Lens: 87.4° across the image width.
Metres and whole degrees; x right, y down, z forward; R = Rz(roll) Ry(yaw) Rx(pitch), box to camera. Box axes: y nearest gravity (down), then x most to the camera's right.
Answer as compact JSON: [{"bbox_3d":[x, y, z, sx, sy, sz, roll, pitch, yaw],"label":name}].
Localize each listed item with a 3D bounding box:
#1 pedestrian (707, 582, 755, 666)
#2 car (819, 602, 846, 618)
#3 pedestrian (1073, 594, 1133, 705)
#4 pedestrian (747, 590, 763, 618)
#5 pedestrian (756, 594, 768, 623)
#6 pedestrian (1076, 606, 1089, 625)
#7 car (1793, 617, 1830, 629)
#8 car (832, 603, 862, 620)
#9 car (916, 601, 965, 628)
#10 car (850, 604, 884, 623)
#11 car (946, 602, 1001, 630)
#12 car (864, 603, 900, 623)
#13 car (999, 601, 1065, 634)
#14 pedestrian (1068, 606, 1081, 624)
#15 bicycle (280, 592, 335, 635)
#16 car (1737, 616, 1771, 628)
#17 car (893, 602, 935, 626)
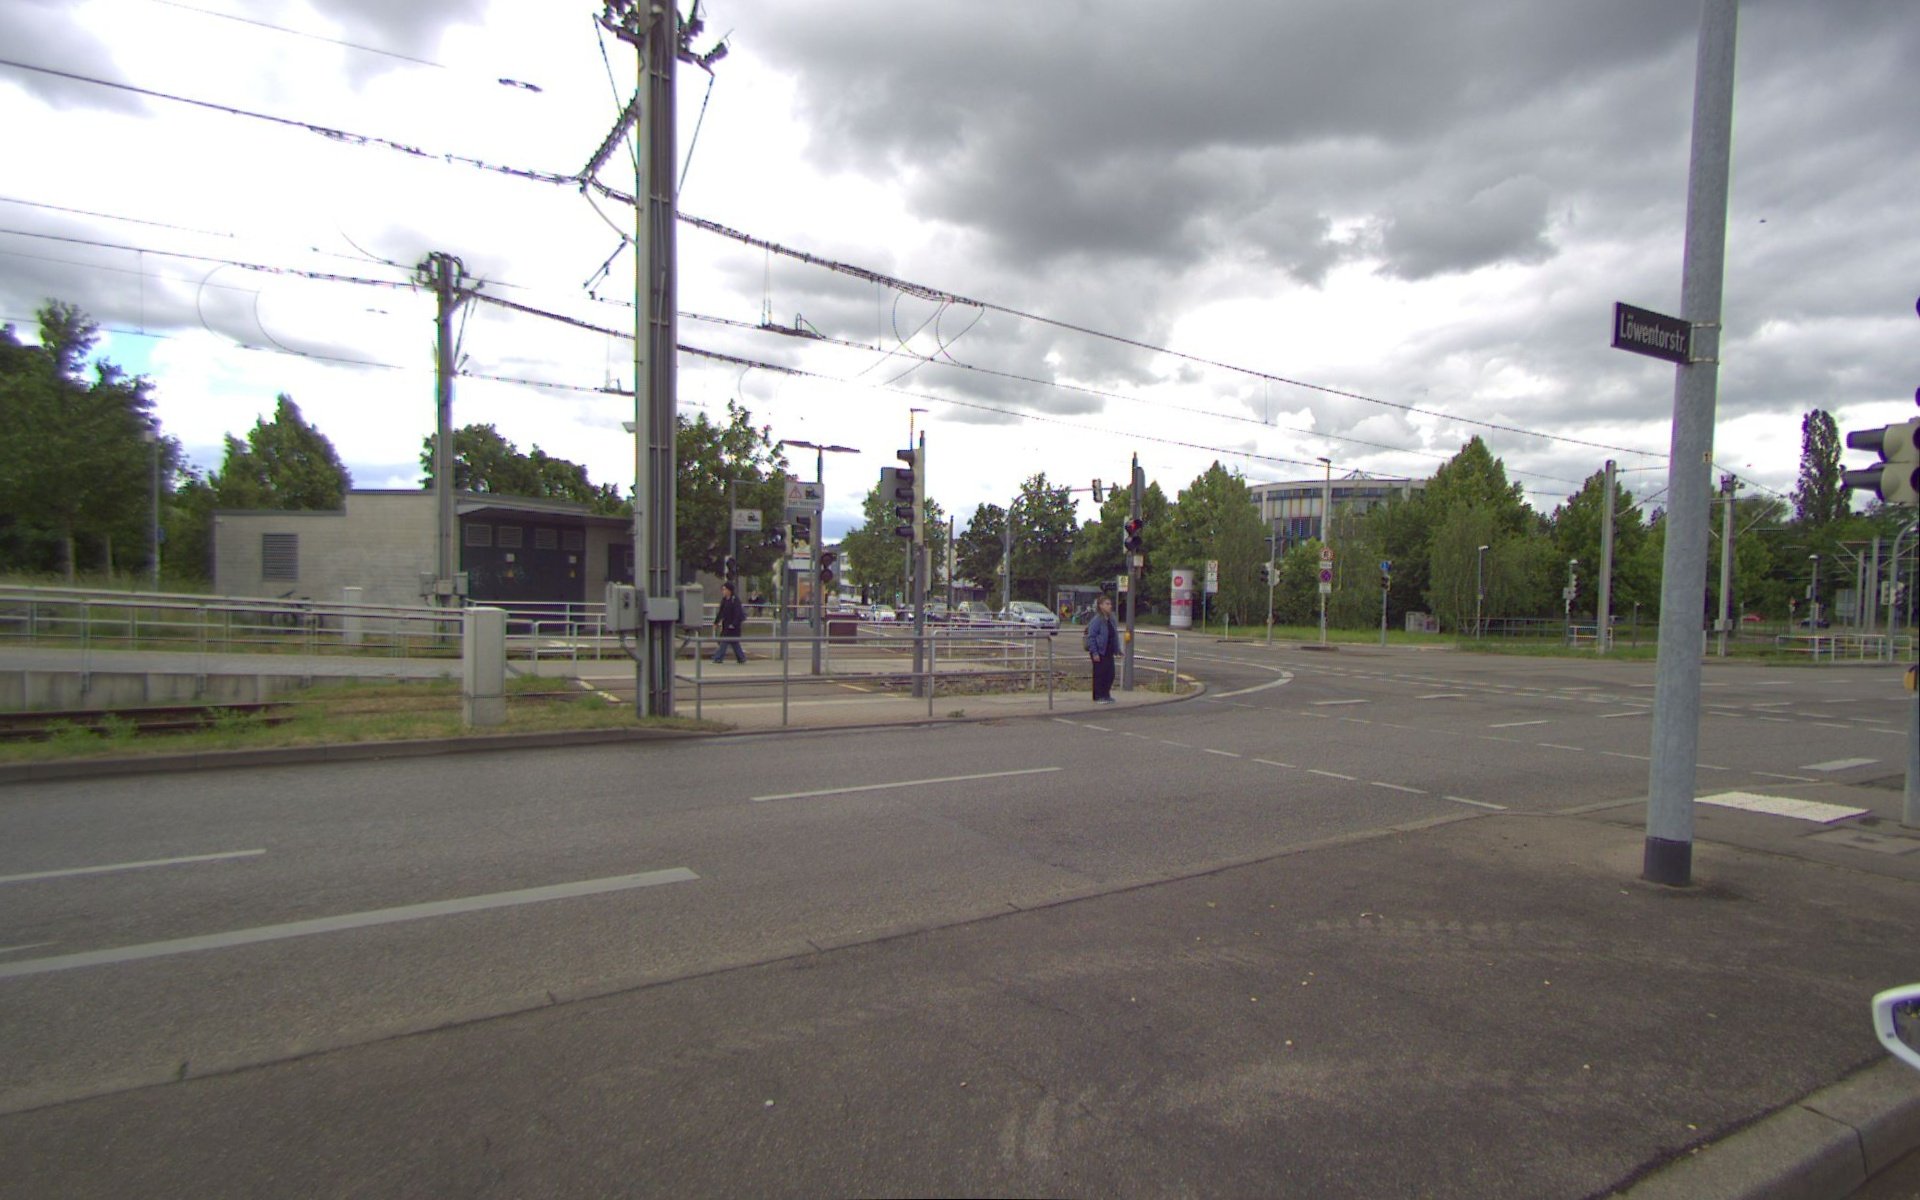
[{"bbox_3d":[-4.536,0.460,19.865,0.653,1.628,0.698,1,1,-41],"label":"pedestrian"},{"bbox_3d":[-11.936,0.963,94.068,1.706,1.456,3.731,1,0,-20],"label":"car"},{"bbox_3d":[2.092,0.705,14.732,0.701,1.584,0.533,1,1,-44],"label":"pedestrian"},{"bbox_3d":[-12.196,0.231,59.743,0.771,1.649,0.660,1,0,-22],"label":"pedestrian"},{"bbox_3d":[-13.777,0.572,69.856,0.738,1.993,0.795,1,0,-9],"label":"pedestrian"},{"bbox_3d":[8.738,1.109,71.809,0.652,1.322,0.780,1,0,-16],"label":"pedestrian"},{"bbox_3d":[116.939,3.155,137.989,1.748,1.567,4.024,1,0,0],"label":"car"},{"bbox_3d":[-9.774,0.988,86.711,1.706,1.456,3.731,1,0,-20],"label":"car"},{"bbox_3d":[-1.154,0.818,58.161,1.706,1.456,3.731,1,0,-20],"label":"car"},{"bbox_3d":[-7.423,1.024,79.680,1.706,1.456,3.991,1,0,-20],"label":"car"},{"bbox_3d":[0.686,0.845,53.665,1.706,1.456,3.731,1,0,-20],"label":"car"},{"bbox_3d":[-5.817,0.964,74.777,1.706,1.456,3.731,1,0,-20],"label":"car"},{"bbox_3d":[3.299,0.801,46.806,1.706,1.456,3.731,1,0,-20],"label":"car"},{"bbox_3d":[8.299,1.081,73.041,0.652,1.321,0.780,1,0,-16],"label":"pedestrian"},{"bbox_3d":[-17.329,0.348,26.673,1.452,1.101,0.492,1,0,22],"label":"bicycle"},{"bbox_3d":[116.933,3.206,148.050,1.749,1.567,4.024,1,0,-1],"label":"car"},{"bbox_3d":[-3.008,0.890,64.927,1.706,1.456,3.731,1,0,-20],"label":"car"}]
